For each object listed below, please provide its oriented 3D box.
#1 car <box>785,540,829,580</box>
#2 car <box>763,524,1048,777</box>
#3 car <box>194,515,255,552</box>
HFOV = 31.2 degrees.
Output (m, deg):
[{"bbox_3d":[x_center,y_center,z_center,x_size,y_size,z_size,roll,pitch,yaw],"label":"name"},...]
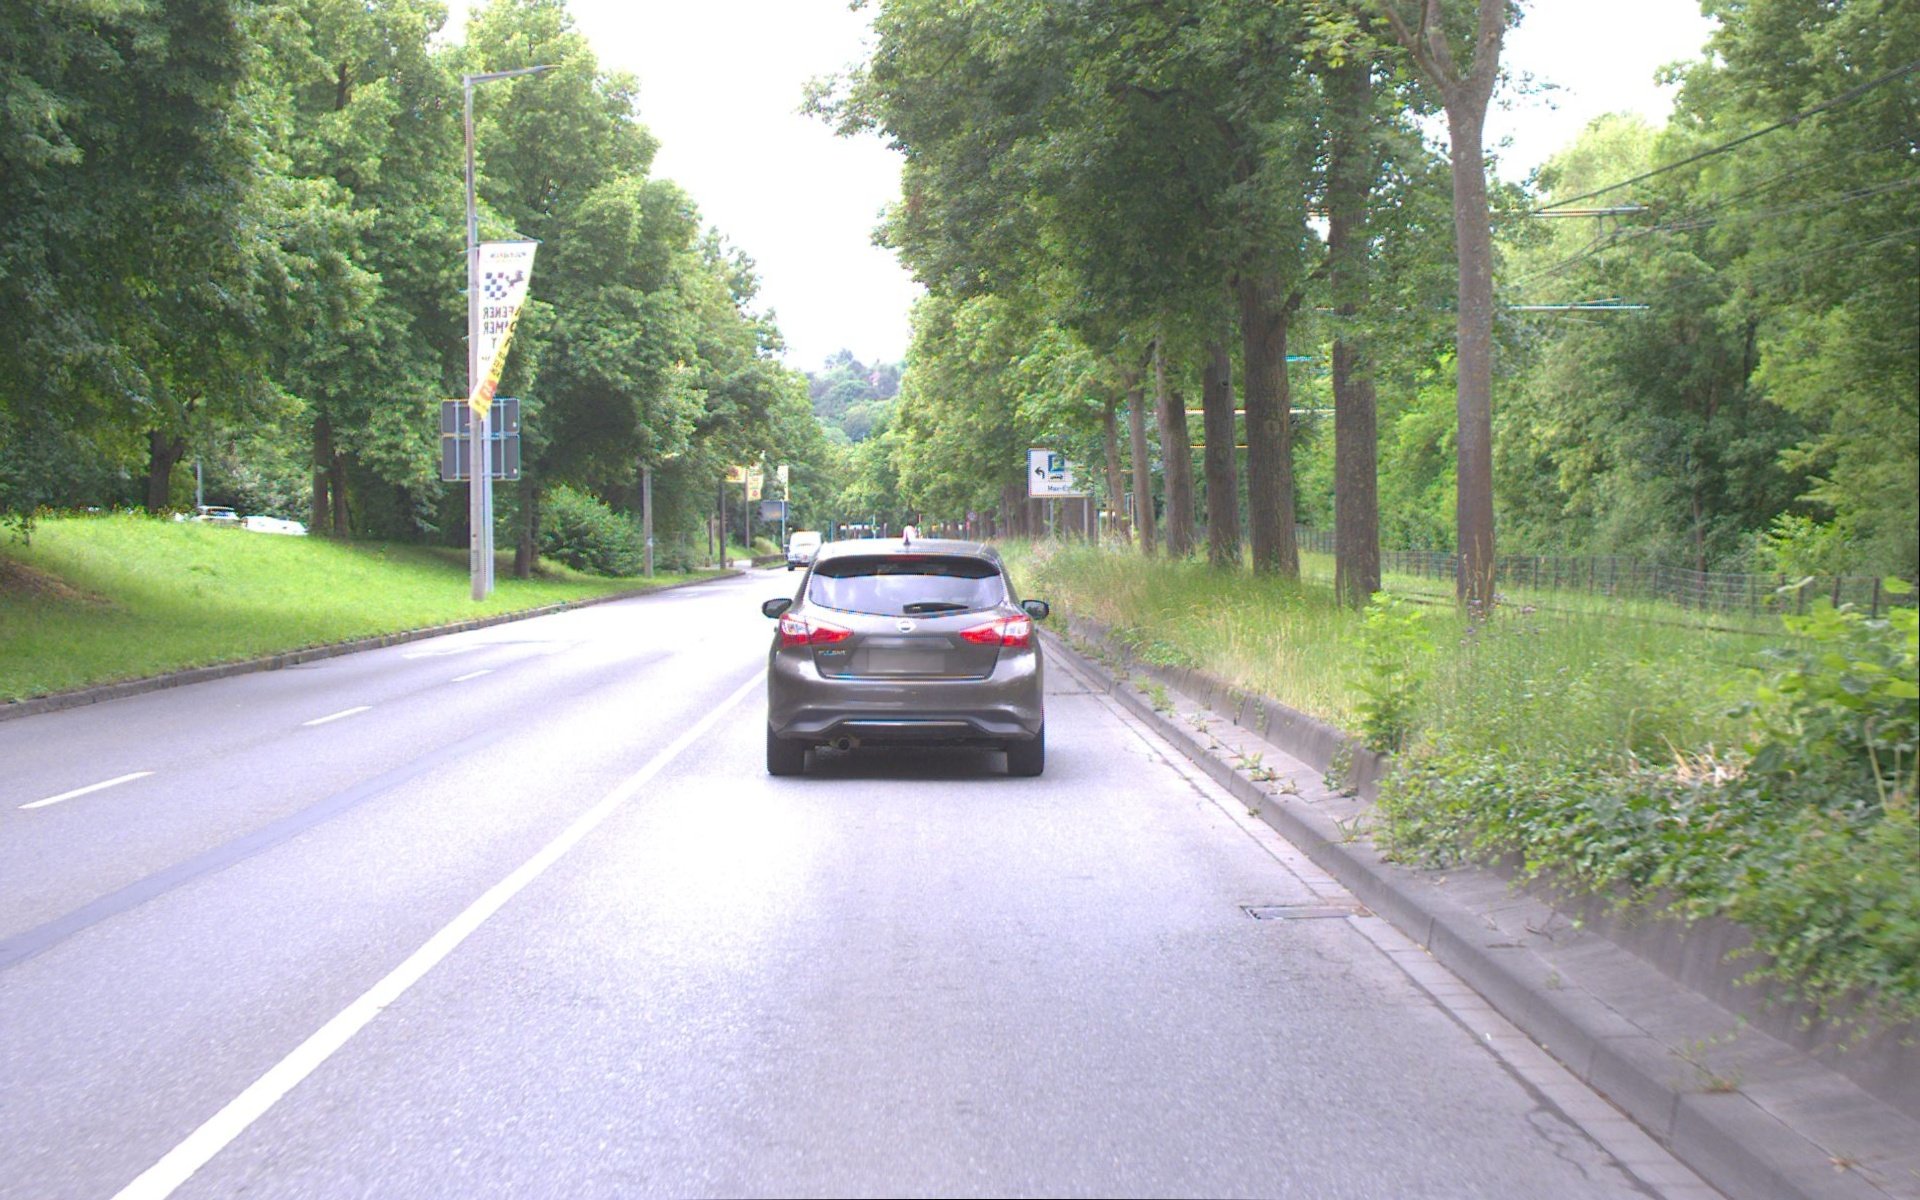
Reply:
[{"bbox_3d":[-7.731,-2.015,174.389,1.993,1.949,5.184,-1,0,0],"label":"car"},{"bbox_3d":[-0.373,0.291,22.895,1.730,1.532,3.552,1,1,-1],"label":"car"},{"bbox_3d":[-30.314,-2.746,141.615,1.645,1.481,4.001,1,1,-24],"label":"car"}]
